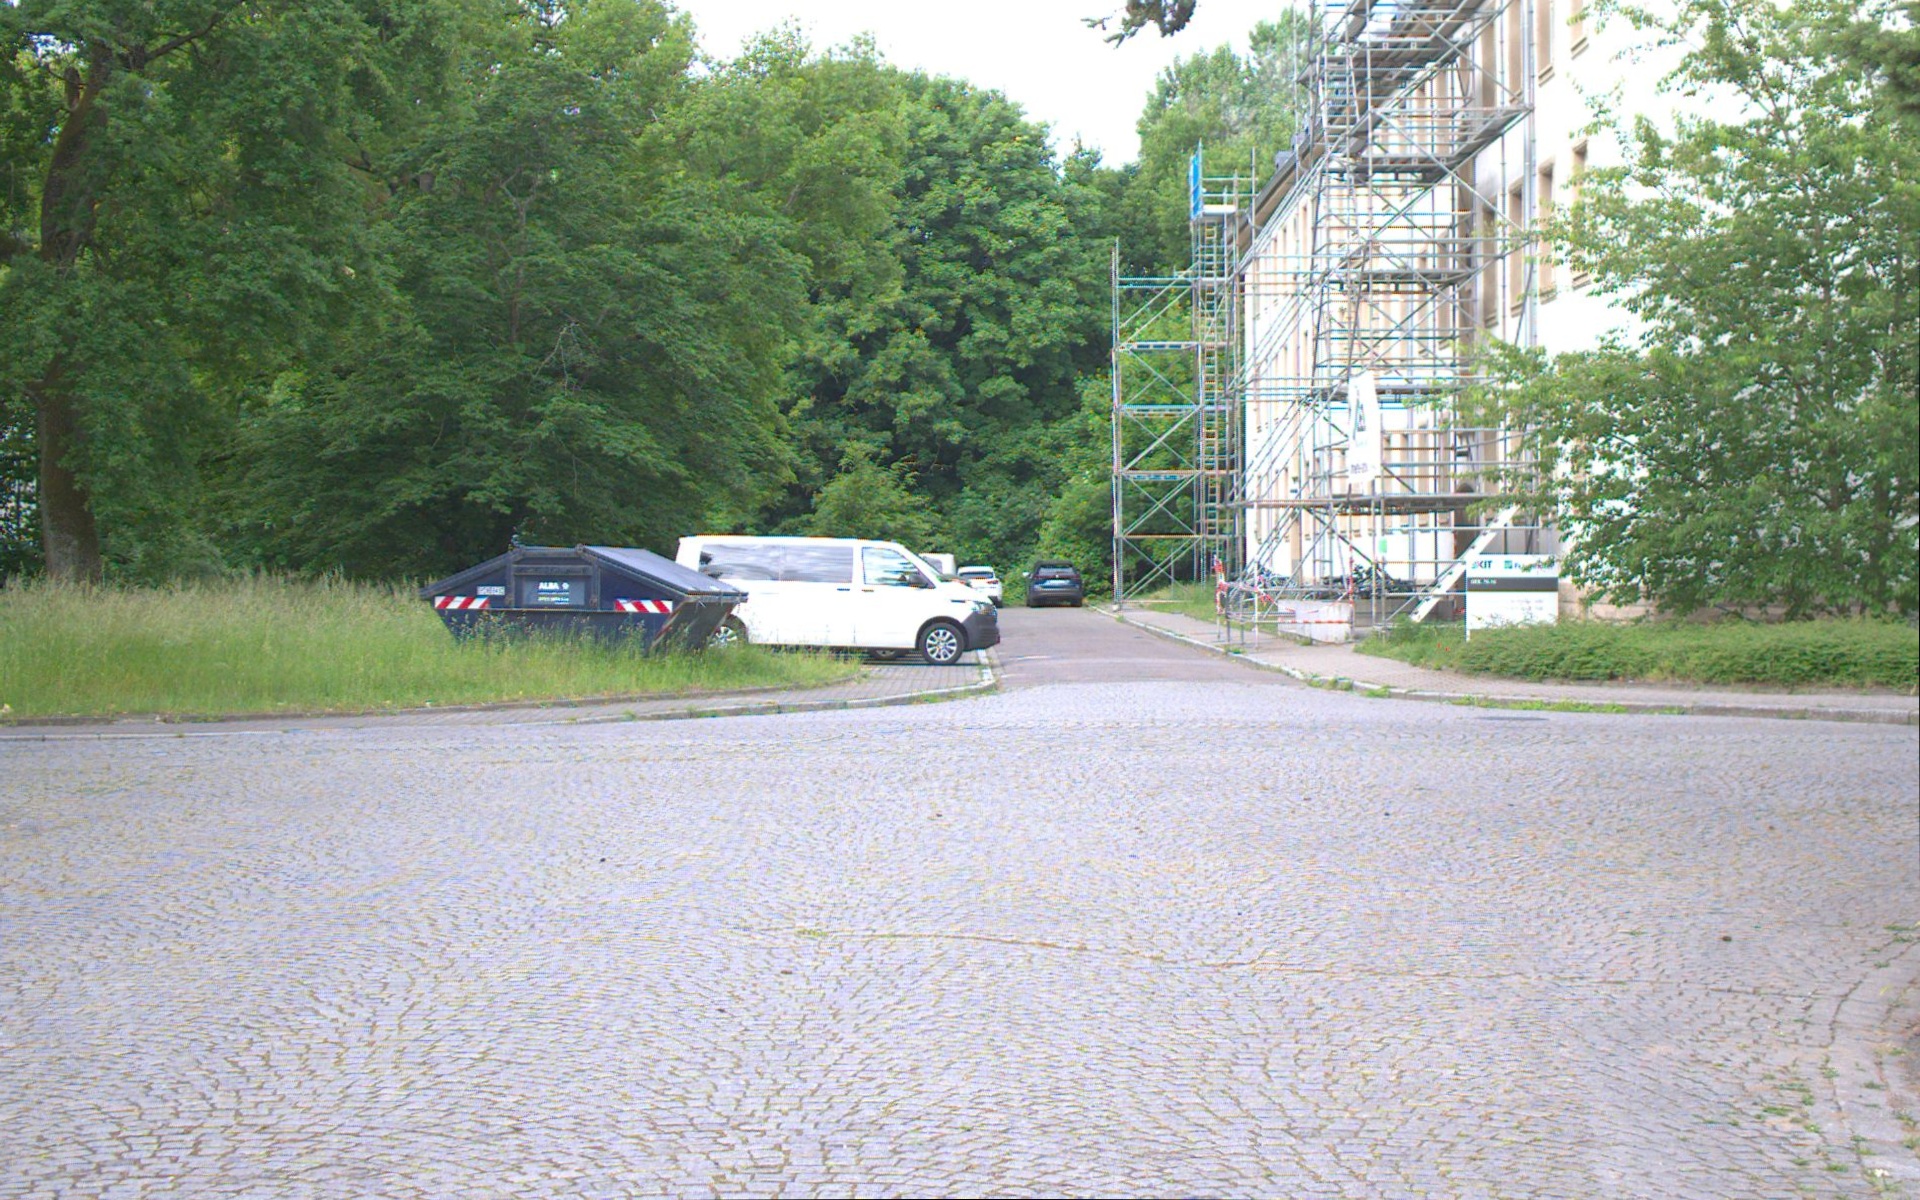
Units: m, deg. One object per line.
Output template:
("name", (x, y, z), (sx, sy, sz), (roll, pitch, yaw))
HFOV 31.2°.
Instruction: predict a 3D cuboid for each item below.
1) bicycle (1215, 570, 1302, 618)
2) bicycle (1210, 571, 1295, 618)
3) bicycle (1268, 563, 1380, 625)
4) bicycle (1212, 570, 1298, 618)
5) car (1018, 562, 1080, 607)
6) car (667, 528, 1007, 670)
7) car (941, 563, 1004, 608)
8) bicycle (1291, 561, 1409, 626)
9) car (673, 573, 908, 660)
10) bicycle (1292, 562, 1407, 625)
("bicycle", (7.865, -0.156, 90.643), (2.240, 1.250, 0.627), (0, 0, 3))
("bicycle", (7.886, -0.160, 92.707), (2.240, 1.250, 0.634), (0, 0, 3))
("bicycle", (7.529, -0.125, 71.154), (2.240, 1.250, 0.777), (0, 0, 3))
("bicycle", (7.880, -0.159, 91.862), (2.240, 1.250, 0.698), (0, 0, 3))
("car", (3.088, -0.543, 120.265), (1.951, 1.516, 4.000), (0, 0, -1))
("car", (-1.927, -0.030, 54.009), (5.234, 2.160, 2.000), (0, 0, -2))
("car", (0.409, -0.511, 119.990), (2.118, 1.516, 4.000), (0, 0, -1))
("bicycle", (7.584, -0.120, 66.896), (2.240, 1.250, 0.777), (0, 0, 3))
("car", (-2.788, 0.260, 56.611), (3.788, 1.390, 2.000), (0, 0, -2))
("bicycle", (7.794, -0.125, 68.807), (2.240, 1.250, 0.777), (0, 0, 3))
